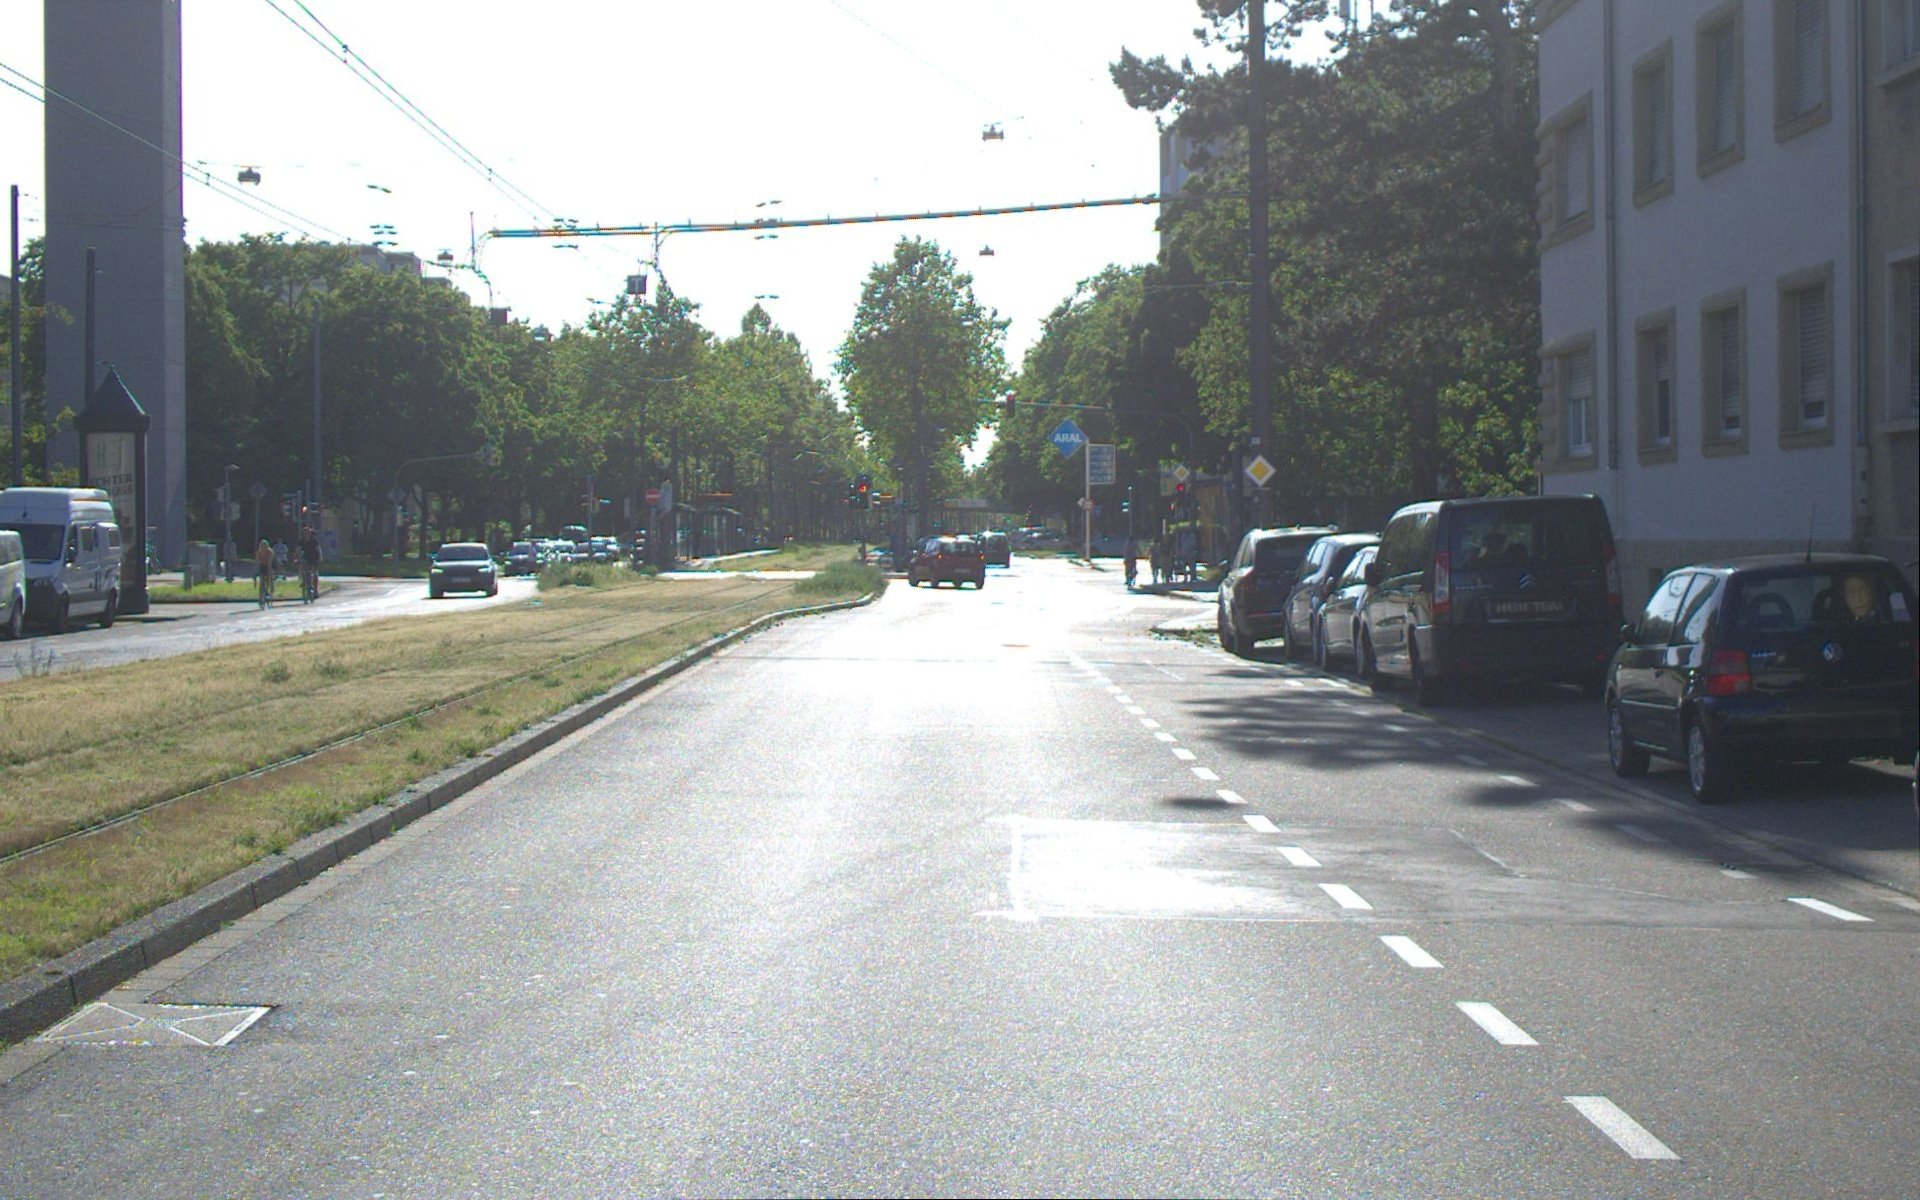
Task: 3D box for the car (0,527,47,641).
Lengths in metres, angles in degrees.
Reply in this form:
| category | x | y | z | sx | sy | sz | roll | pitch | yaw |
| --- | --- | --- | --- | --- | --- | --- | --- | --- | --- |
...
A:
| category | x | y | z | sx | sy | sz | roll | pitch | yaw |
| --- | --- | --- | --- | --- | --- | --- | --- | --- | --- |
| car | -18.186 | -0.309 | 61.734 | 2.032 | 2.014 | 5.371 | 2 | 1 | 0 |

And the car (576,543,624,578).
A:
| category | x | y | z | sx | sy | sz | roll | pitch | yaw |
| --- | --- | --- | --- | --- | --- | --- | --- | --- | --- |
| car | -16.098 | -1.787 | 153.855 | 1.687 | 1.527 | 4.361 | 0 | 1 | 0 |

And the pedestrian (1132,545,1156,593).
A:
| category | x | y | z | sx | sy | sz | roll | pitch | yaw |
| --- | --- | --- | --- | --- | --- | --- | --- | --- | --- |
| pedestrian | 5.933 | -1.005 | 111.000 | 0.647 | 1.517 | 0.496 | 3 | 1 | 12 |

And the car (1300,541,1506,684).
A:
| category | x | y | z | sx | sy | sz | roll | pitch | yaw |
| --- | --- | --- | --- | --- | --- | --- | --- | --- | --- |
| car | 4.889 | 0.097 | 38.451 | 1.510 | 1.473 | 4.239 | -2 | 1 | -3 |

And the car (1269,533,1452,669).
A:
| category | x | y | z | sx | sy | sz | roll | pitch | yaw |
| --- | --- | --- | --- | --- | --- | --- | --- | --- | --- |
| car | 4.988 | -0.021 | 43.287 | 1.593 | 1.573 | 3.896 | -2 | 1 | -3 |

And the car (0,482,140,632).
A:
| category | x | y | z | sx | sy | sz | roll | pitch | yaw |
| --- | --- | --- | --- | --- | --- | --- | --- | --- | --- |
| car | -18.215 | -0.897 | 68.827 | 2.032 | 2.859 | 6.228 | 1 | 1 | 1 |

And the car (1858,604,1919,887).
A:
| category | x | y | z | sx | sy | sz | roll | pitch | yaw |
| --- | --- | --- | --- | --- | --- | --- | --- | --- | --- |
| car | 5.273 | 0.661 | 14.461 | 1.702 | 1.271 | 4.304 | -4 | 1 | -1 |

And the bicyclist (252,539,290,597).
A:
| category | x | y | z | sx | sy | sz | roll | pitch | yaw |
| --- | --- | --- | --- | --- | --- | --- | --- | --- | --- |
| bicyclist | -16.493 | -0.760 | 82.312 | 0.773 | 1.379 | 0.648 | 0 | 1 | 0 |

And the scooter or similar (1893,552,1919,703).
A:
| category | x | y | z | sx | sy | sz | roll | pitch | yaw |
| --- | --- | --- | --- | --- | --- | --- | --- | --- | --- |
| scooter or similar | 8.157 | 0.228 | 28.413 | 0.458 | 1.234 | 1.339 | -4 | 1 | 0 |

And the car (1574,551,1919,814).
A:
| category | x | y | z | sx | sy | sz | roll | pitch | yaw |
| --- | --- | --- | --- | --- | --- | --- | --- | --- | --- |
| car | 5.147 | 0.461 | 22.144 | 1.635 | 1.449 | 3.789 | -3 | 1 | 0 |

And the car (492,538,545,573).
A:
| category | x | y | z | sx | sy | sz | roll | pitch | yaw |
| --- | --- | --- | --- | --- | --- | --- | --- | --- | --- |
| car | -19.591 | -1.998 | 152.544 | 1.806 | 1.527 | 4.361 | 0 | 1 | 0 |

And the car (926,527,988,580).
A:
| category | x | y | z | sx | sy | sz | roll | pitch | yaw |
| --- | --- | --- | --- | --- | --- | --- | --- | --- | --- |
| car | -0.102 | -1.428 | 104.564 | 1.694 | 1.503 | 3.699 | 2 | 1 | -2 |

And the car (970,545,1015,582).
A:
| category | x | y | z | sx | sy | sz | roll | pitch | yaw |
| --- | --- | --- | --- | --- | --- | --- | --- | --- | --- |
| car | 1.486 | -1.703 | 159.318 | 1.894 | 1.605 | 4.501 | 2 | 1 | -1 |

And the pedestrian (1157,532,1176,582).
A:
| category | x | y | z | sx | sy | sz | roll | pitch | yaw |
| --- | --- | --- | --- | --- | --- | --- | --- | --- | --- |
| pedestrian | 6.311 | -1.316 | 105.132 | 0.529 | 1.523 | 0.627 | -2 | 1 | 5 |

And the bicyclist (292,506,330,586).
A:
| category | x | y | z | sx | sy | sz | roll | pitch | yaw |
| --- | --- | --- | --- | --- | --- | --- | --- | --- | --- |
| bicyclist | -16.608 | -1.392 | 87.990 | 0.773 | 2.007 | 0.648 | 2 | 1 | 0 |

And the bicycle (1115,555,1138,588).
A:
| category | x | y | z | sx | sy | sz | roll | pitch | yaw |
| --- | --- | --- | --- | --- | --- | --- | --- | --- | --- |
| bicycle | 5.107 | -0.892 | 105.659 | 0.648 | 0.969 | 1.803 | 2 | 1 | 3 |

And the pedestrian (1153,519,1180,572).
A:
| category | x | y | z | sx | sy | sz | roll | pitch | yaw |
| --- | --- | --- | --- | --- | --- | --- | --- | --- | --- |
| pedestrian | 6.674 | -1.764 | 111.102 | 0.730 | 1.676 | 0.532 | 3 | 1 | 12 |

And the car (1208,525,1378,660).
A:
| category | x | y | z | sx | sy | sz | roll | pitch | yaw |
| --- | --- | --- | --- | --- | --- | --- | --- | --- | --- |
| car | 4.645 | -0.148 | 48.616 | 1.879 | 1.711 | 4.934 | -3 | 1 | 1 |

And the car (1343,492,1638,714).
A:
| category | x | y | z | sx | sy | sz | roll | pitch | yaw |
| --- | --- | --- | --- | --- | --- | --- | --- | --- | --- |
| car | 5.062 | -0.025 | 33.509 | 1.913 | 1.893 | 5.136 | -3 | 1 | -1 |

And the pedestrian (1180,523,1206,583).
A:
| category | x | y | z | sx | sy | sz | roll | pitch | yaw |
| --- | --- | --- | --- | --- | --- | --- | --- | --- | --- |
| pedestrian | 7.116 | -1.433 | 105.018 | 0.703 | 1.783 | 0.694 | -2 | 2 | 5 |

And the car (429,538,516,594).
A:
| category | x | y | z | sx | sy | sz | roll | pitch | yaw |
| --- | --- | --- | --- | --- | --- | --- | --- | --- | --- |
| car | -13.205 | -0.941 | 93.224 | 1.694 | 1.443 | 4.217 | -1 | 1 | 0 |

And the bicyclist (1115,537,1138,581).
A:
| category | x | y | z | sx | sy | sz | roll | pitch | yaw |
| --- | --- | --- | --- | --- | --- | --- | --- | --- | --- |
| bicyclist | 5.115 | -1.262 | 105.676 | 0.638 | 1.318 | 0.803 | 2 | 1 | 2 |

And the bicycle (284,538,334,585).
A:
| category | x | y | z | sx | sy | sz | roll | pitch | yaw |
| --- | --- | --- | --- | --- | --- | --- | --- | --- | --- |
| bicycle | -16.741 | -0.998 | 88.428 | 0.768 | 1.142 | 2.475 | -2 | 1 | 0 |

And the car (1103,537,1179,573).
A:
| category | x | y | z | sx | sy | sz | roll | pitch | yaw |
| --- | --- | --- | --- | --- | --- | --- | --- | --- | --- |
| car | 10.253 | -2.565 | 194.936 | 3.989 | 1.853 | 2.011 | 3 | 1 | 11 |

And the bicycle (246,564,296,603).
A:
| category | x | y | z | sx | sy | sz | roll | pitch | yaw |
| --- | --- | --- | --- | --- | --- | --- | --- | --- | --- |
| bicycle | -16.497 | -0.412 | 82.357 | 0.768 | 0.876 | 2.069 | -2 | 1 | 0 |
